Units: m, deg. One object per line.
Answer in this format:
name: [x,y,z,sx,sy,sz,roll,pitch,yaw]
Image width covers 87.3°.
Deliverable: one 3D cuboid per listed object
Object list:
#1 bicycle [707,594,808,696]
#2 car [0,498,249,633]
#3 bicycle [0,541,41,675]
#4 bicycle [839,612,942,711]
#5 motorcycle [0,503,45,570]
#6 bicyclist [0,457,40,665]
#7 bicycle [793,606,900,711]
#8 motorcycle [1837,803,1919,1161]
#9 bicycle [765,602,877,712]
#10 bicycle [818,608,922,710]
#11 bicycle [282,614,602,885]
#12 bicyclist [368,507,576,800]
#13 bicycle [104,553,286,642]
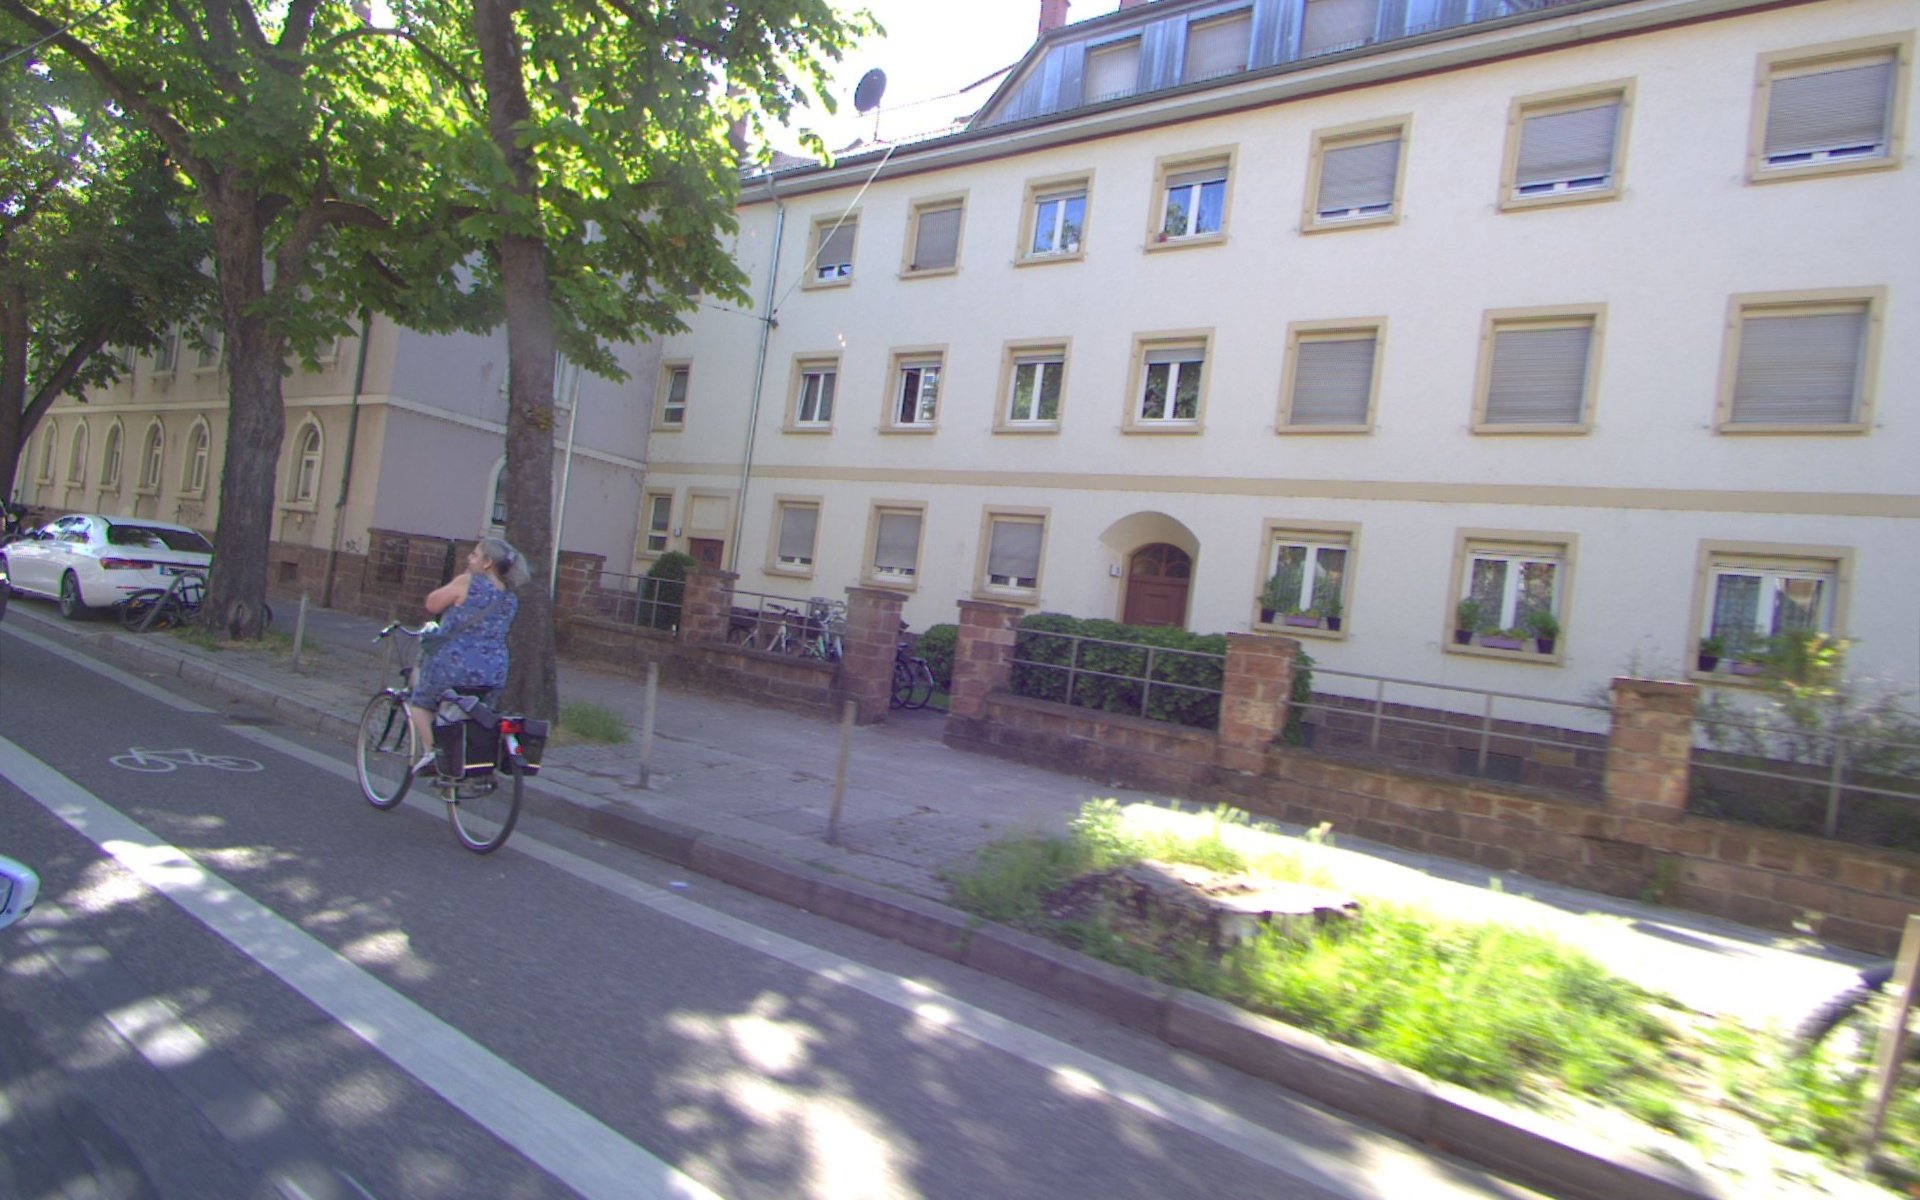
bicycle: [-2.847,0.618,14.095,1.351,1.237,0.435,7,-1,35]
car: [-12.608,-0.557,14.903,4.587,1.453,1.630,7,0,32]
bicycle: [-9.213,-0.007,9.227,1.691,1.125,0.693,7,-2,35]
bicycle: [-1.016,0.879,14.559,1.351,1.237,0.435,7,-1,35]
motorcycle: [-20.205,-1.394,21.267,2.150,1.258,0.710,7,0,34]
bicyclist: [-9.129,-0.411,9.159,0.823,1.869,0.728,7,-2,34]
bicycle: [-1.559,0.792,13.745,1.351,1.237,0.435,7,-1,35]
motorcycle: [4.336,1.513,3.430,1.829,1.207,0.495,7,4,27]
bicycle: [-1.814,0.724,13.041,1.351,1.237,0.435,7,-1,35]
bicycle: [-1.280,0.818,14.157,1.351,1.237,0.435,7,-1,35]
bicycle: [-2.980,0.774,5.711,1.887,1.125,0.693,7,-2,35]
bicyclist: [-2.698,0.295,5.582,0.606,1.484,0.636,7,-2,35]
bicycle: [-10.240,-0.014,13.529,0.610,1.032,1.793,7,1,34]
